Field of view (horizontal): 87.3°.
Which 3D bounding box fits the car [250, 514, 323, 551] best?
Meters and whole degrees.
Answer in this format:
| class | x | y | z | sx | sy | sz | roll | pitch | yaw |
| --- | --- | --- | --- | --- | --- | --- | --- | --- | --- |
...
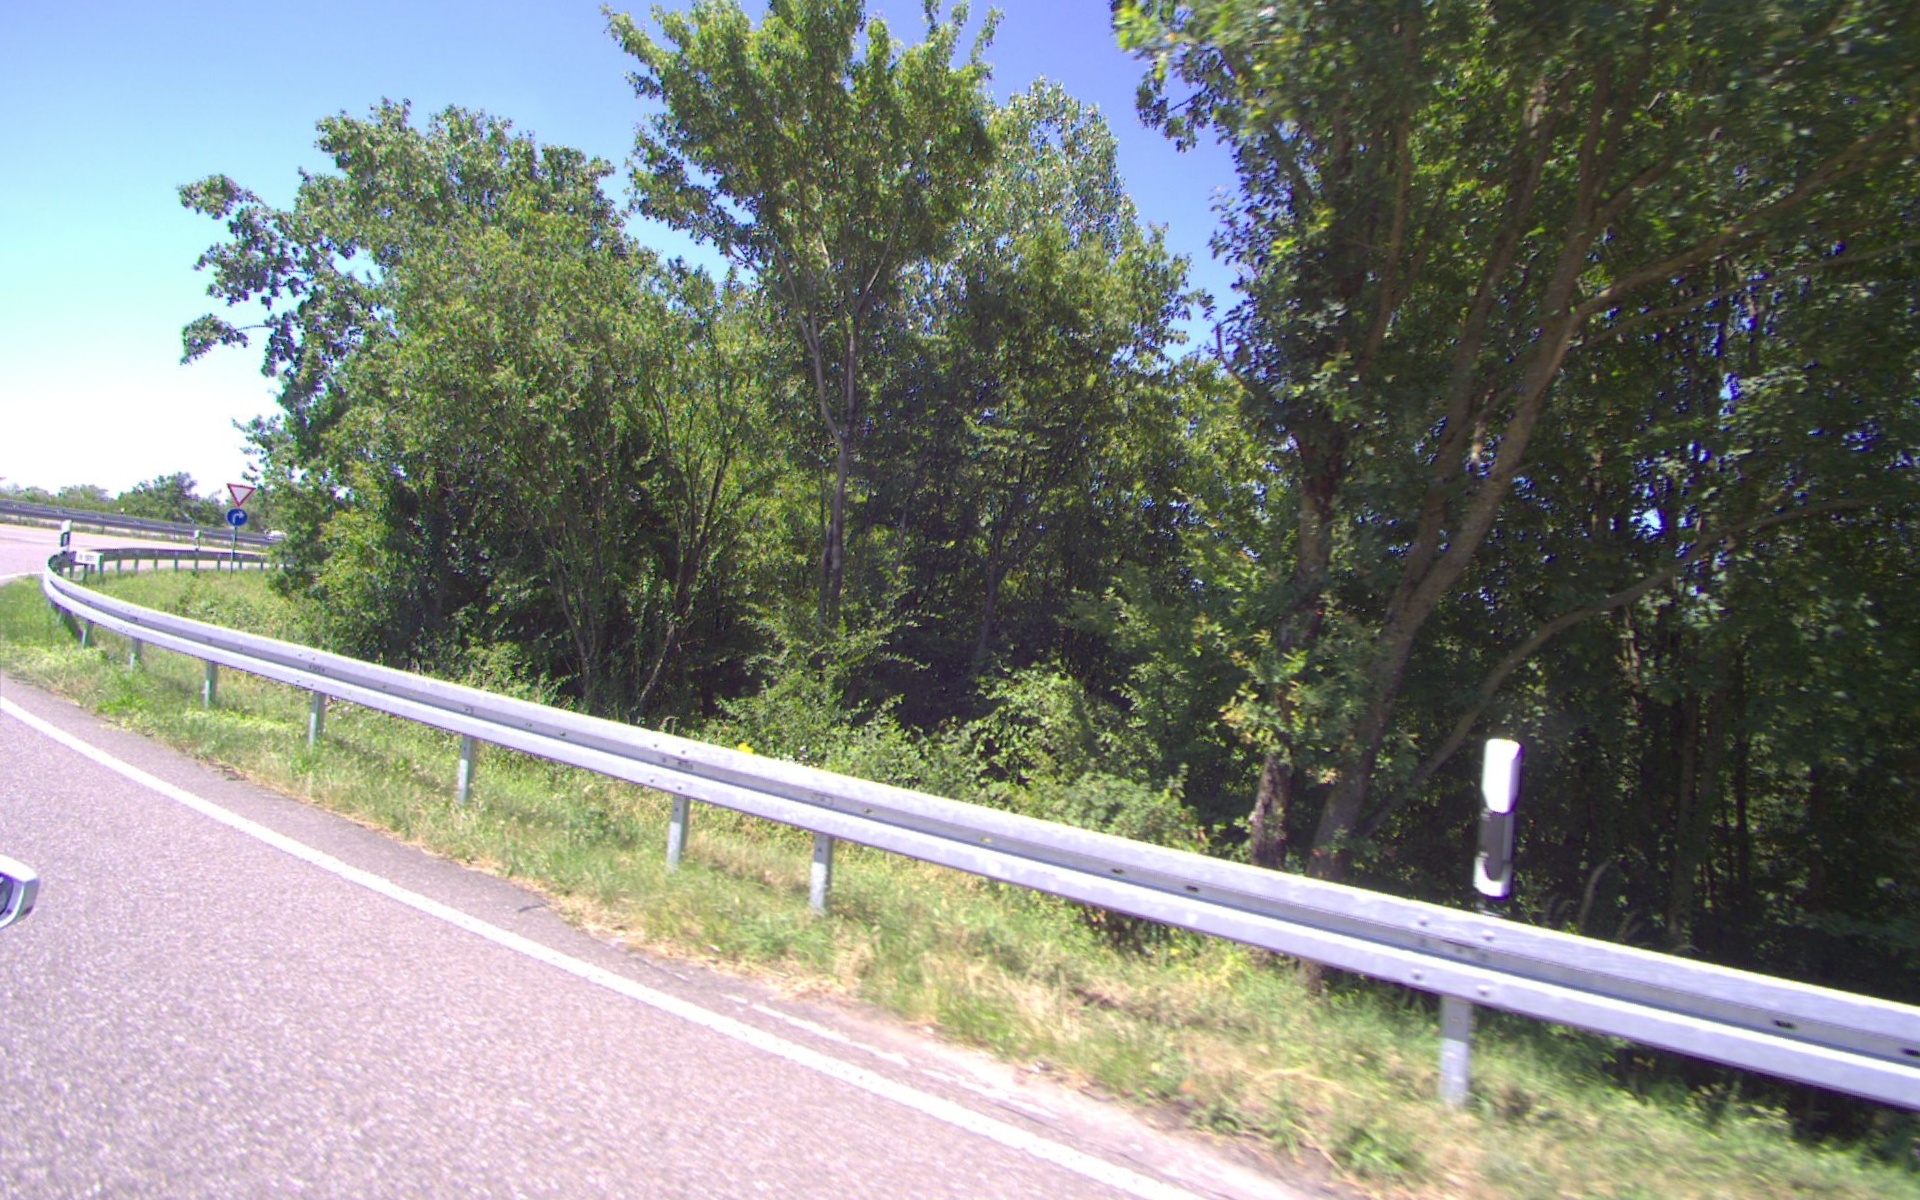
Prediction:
| class | x | y | z | sx | sy | sz | roll | pitch | yaw |
| --- | --- | --- | --- | --- | --- | --- | --- | --- | --- |
| car | -46.417 | -4.622 | 69.445 | 1.964 | 1.810 | 4.406 | 8 | -1 | -1 |
